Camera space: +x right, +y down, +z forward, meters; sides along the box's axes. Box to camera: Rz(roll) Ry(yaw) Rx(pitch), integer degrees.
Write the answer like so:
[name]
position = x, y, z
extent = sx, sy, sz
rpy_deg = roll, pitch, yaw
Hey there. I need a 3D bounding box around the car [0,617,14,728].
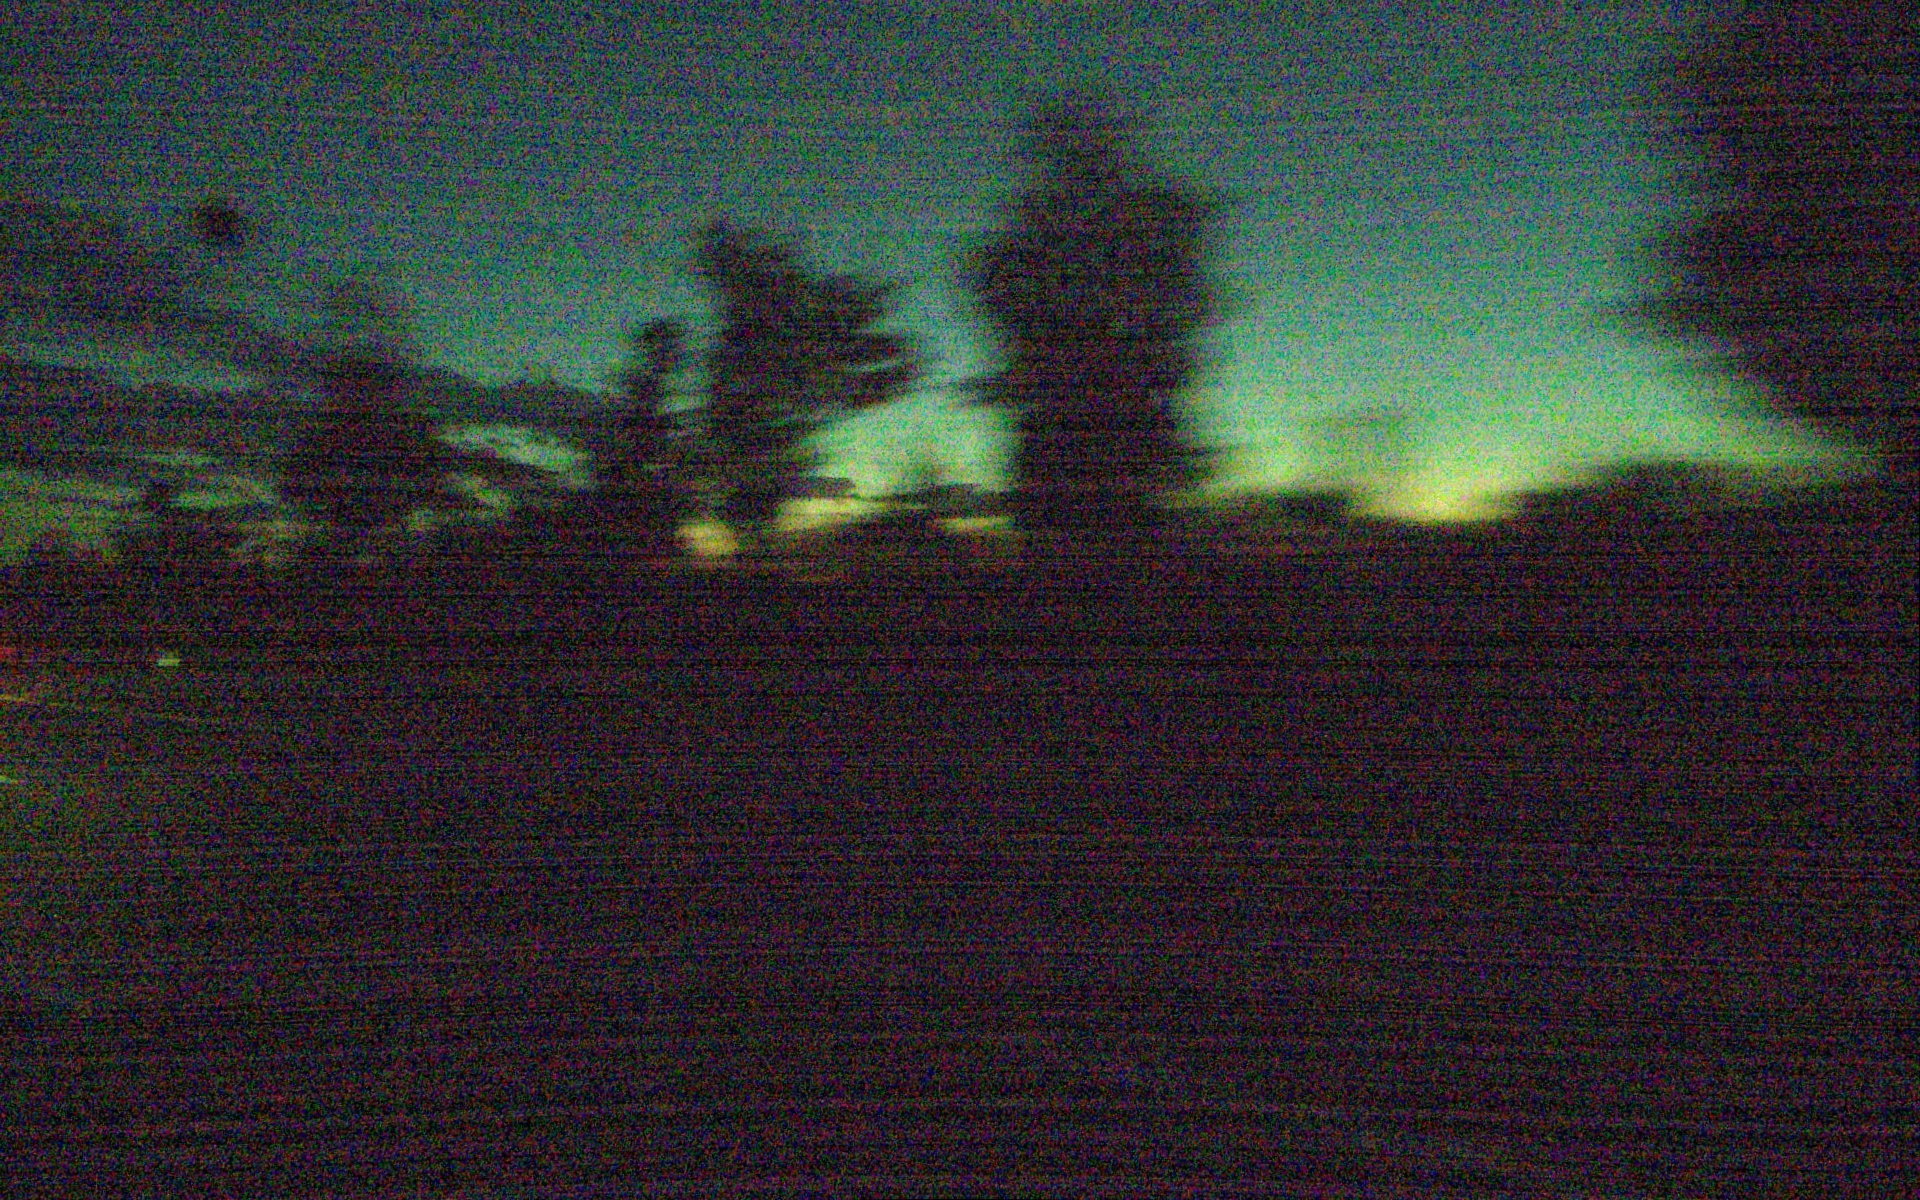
[car]
position = -16.295, 1.087, 15.313
extent = 4.446, 1.617, 1.643
rpy_deg = -1, -1, 33
